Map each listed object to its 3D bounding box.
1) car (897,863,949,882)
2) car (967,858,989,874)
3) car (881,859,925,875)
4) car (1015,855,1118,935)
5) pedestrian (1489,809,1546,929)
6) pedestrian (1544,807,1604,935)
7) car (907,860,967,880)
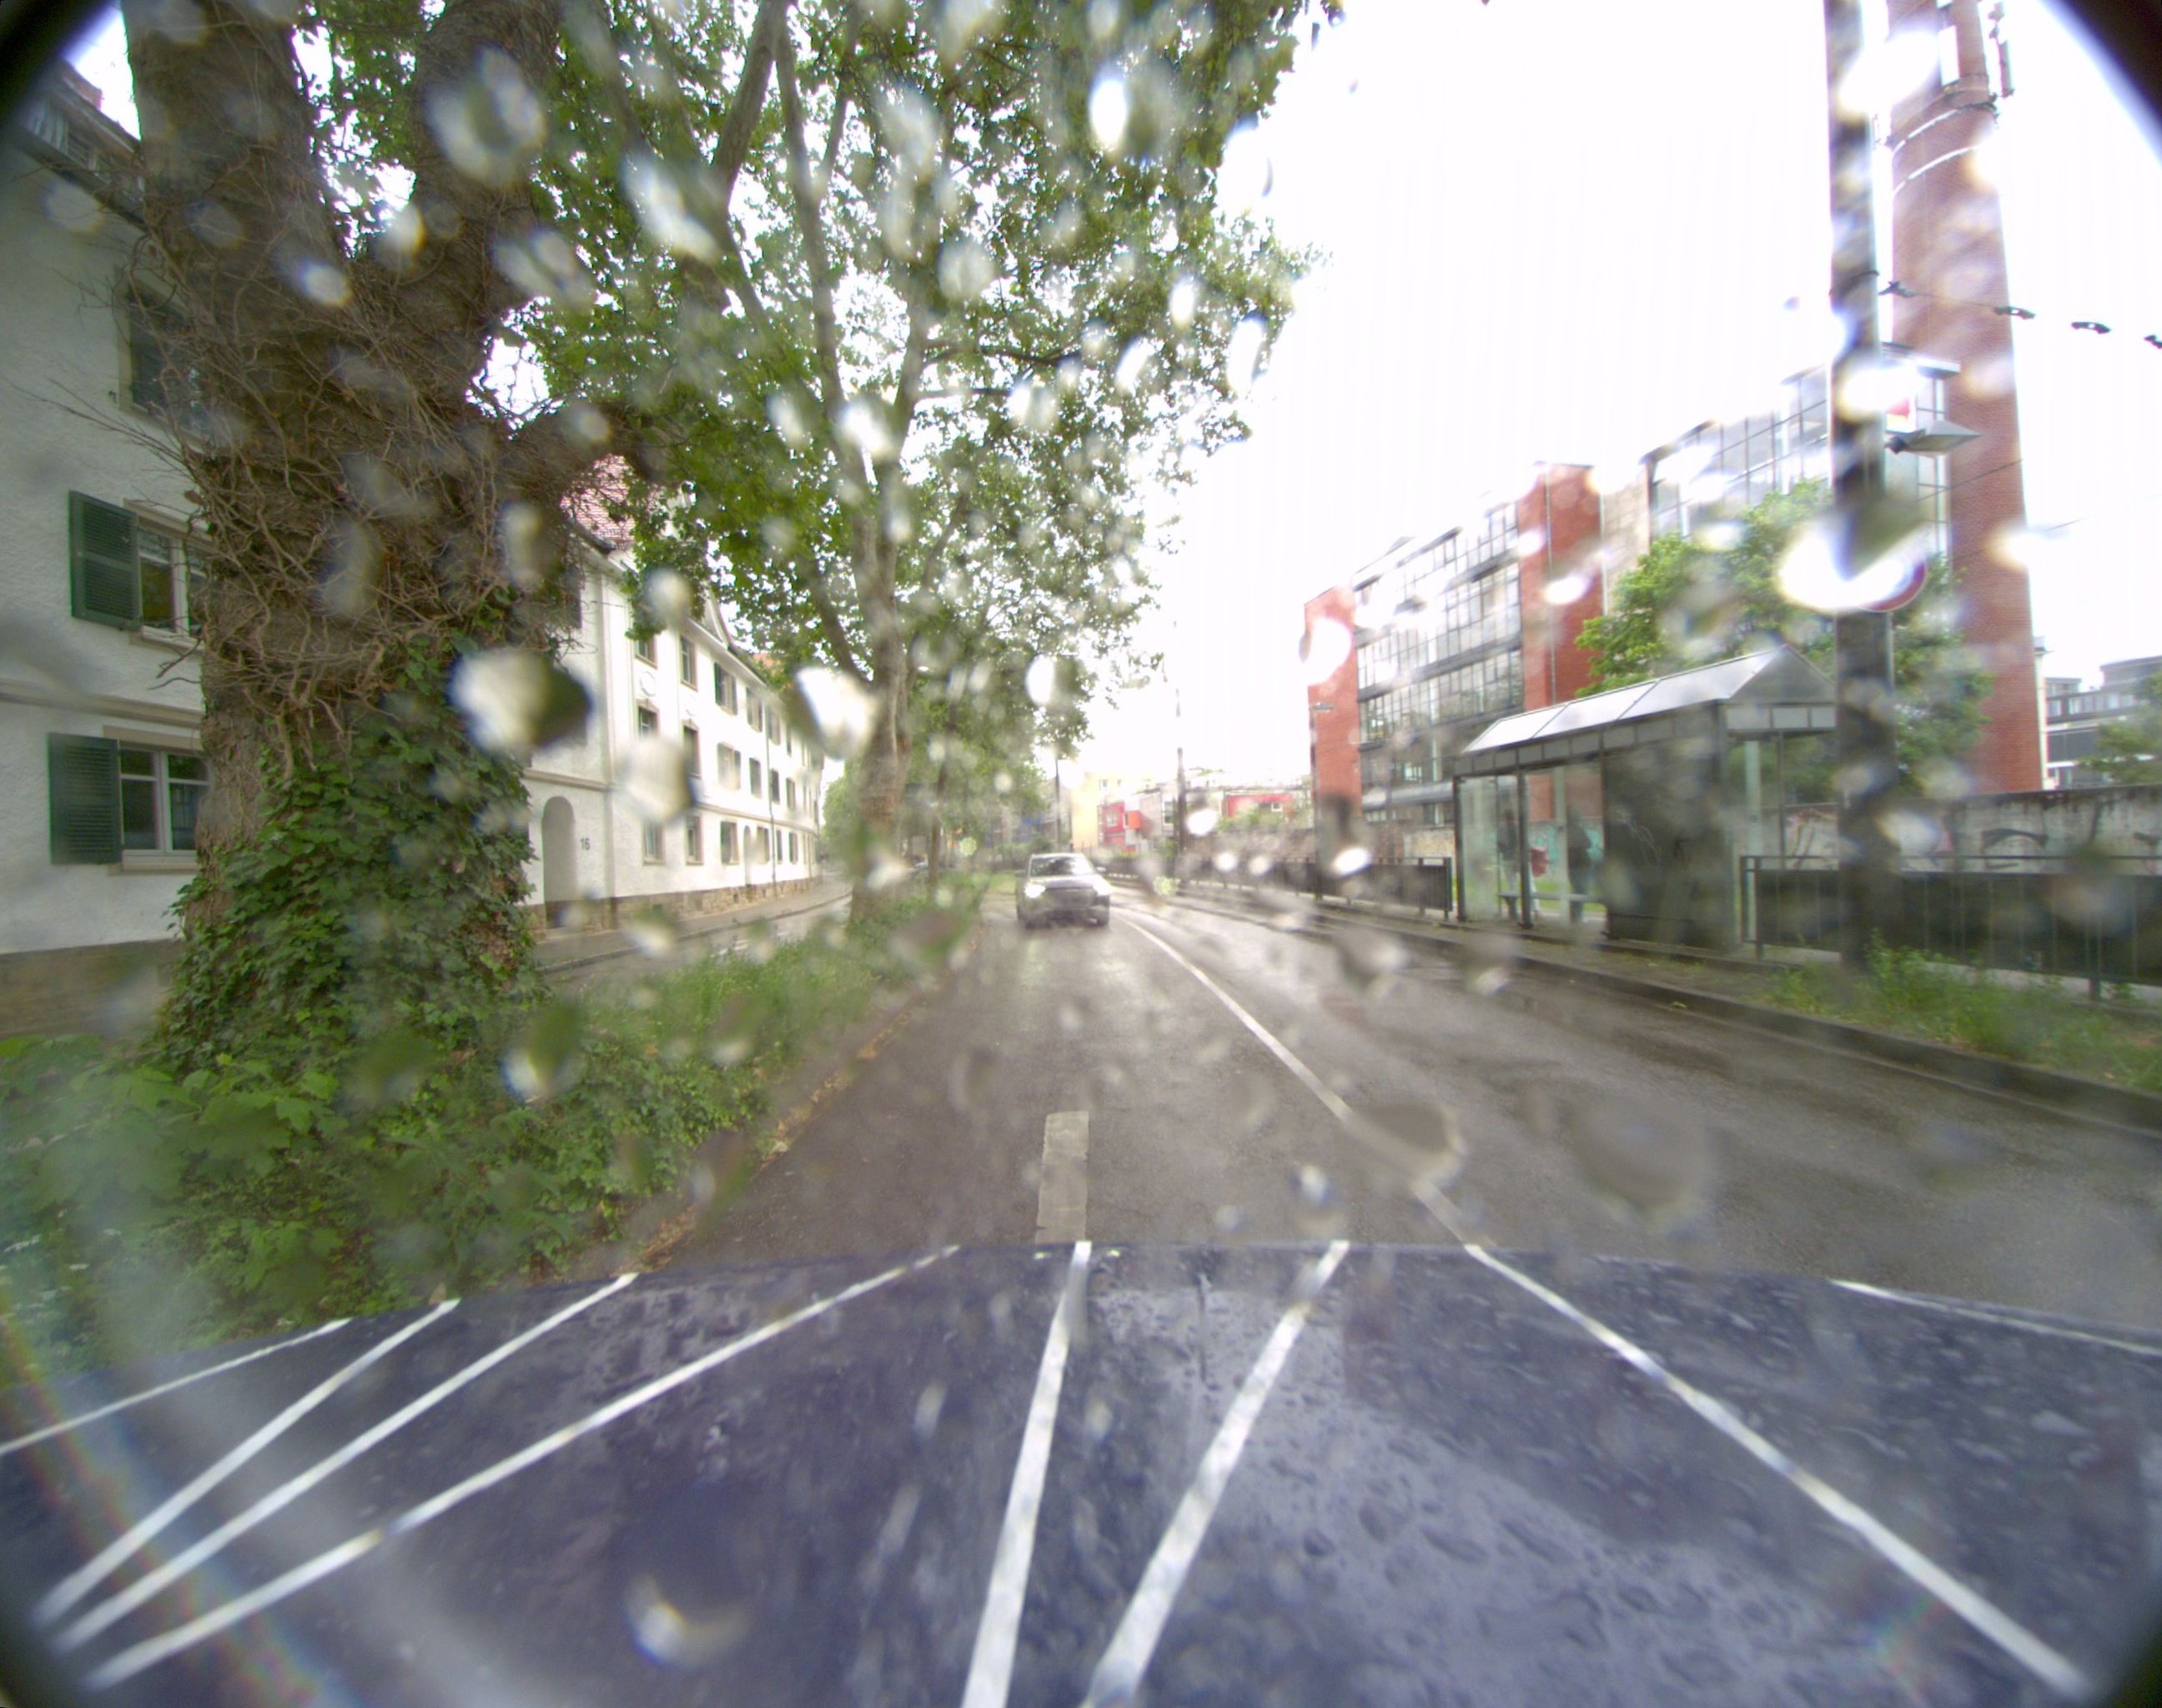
[{"bbox_3d":[-14.582,1.704,70.228,4.328,1.603,1.749,-1,0,6],"label":"car"},{"bbox_3d":[-11.855,1.330,87.105,1.694,1.713,3.685,-1,0,-20],"label":"car"},{"bbox_3d":[-22.213,1.608,94.719,4.884,2.002,2.002,-1,0,11],"label":"car"},{"bbox_3d":[-0.479,0.844,17.762,1.852,1.586,4.213,-2,0,-8],"label":"car"},{"bbox_3d":[6.484,0.220,11.289,0.584,1.721,0.566,-1,1,-41],"label":"pedestrian"},{"bbox_3d":[6.876,0.232,10.598,0.584,1.721,0.566,-1,1,-43],"label":"pedestrian"},{"bbox_3d":[-11.313,1.268,59.929,4.224,1.532,1.932,-1,0,11],"label":"car"}]
